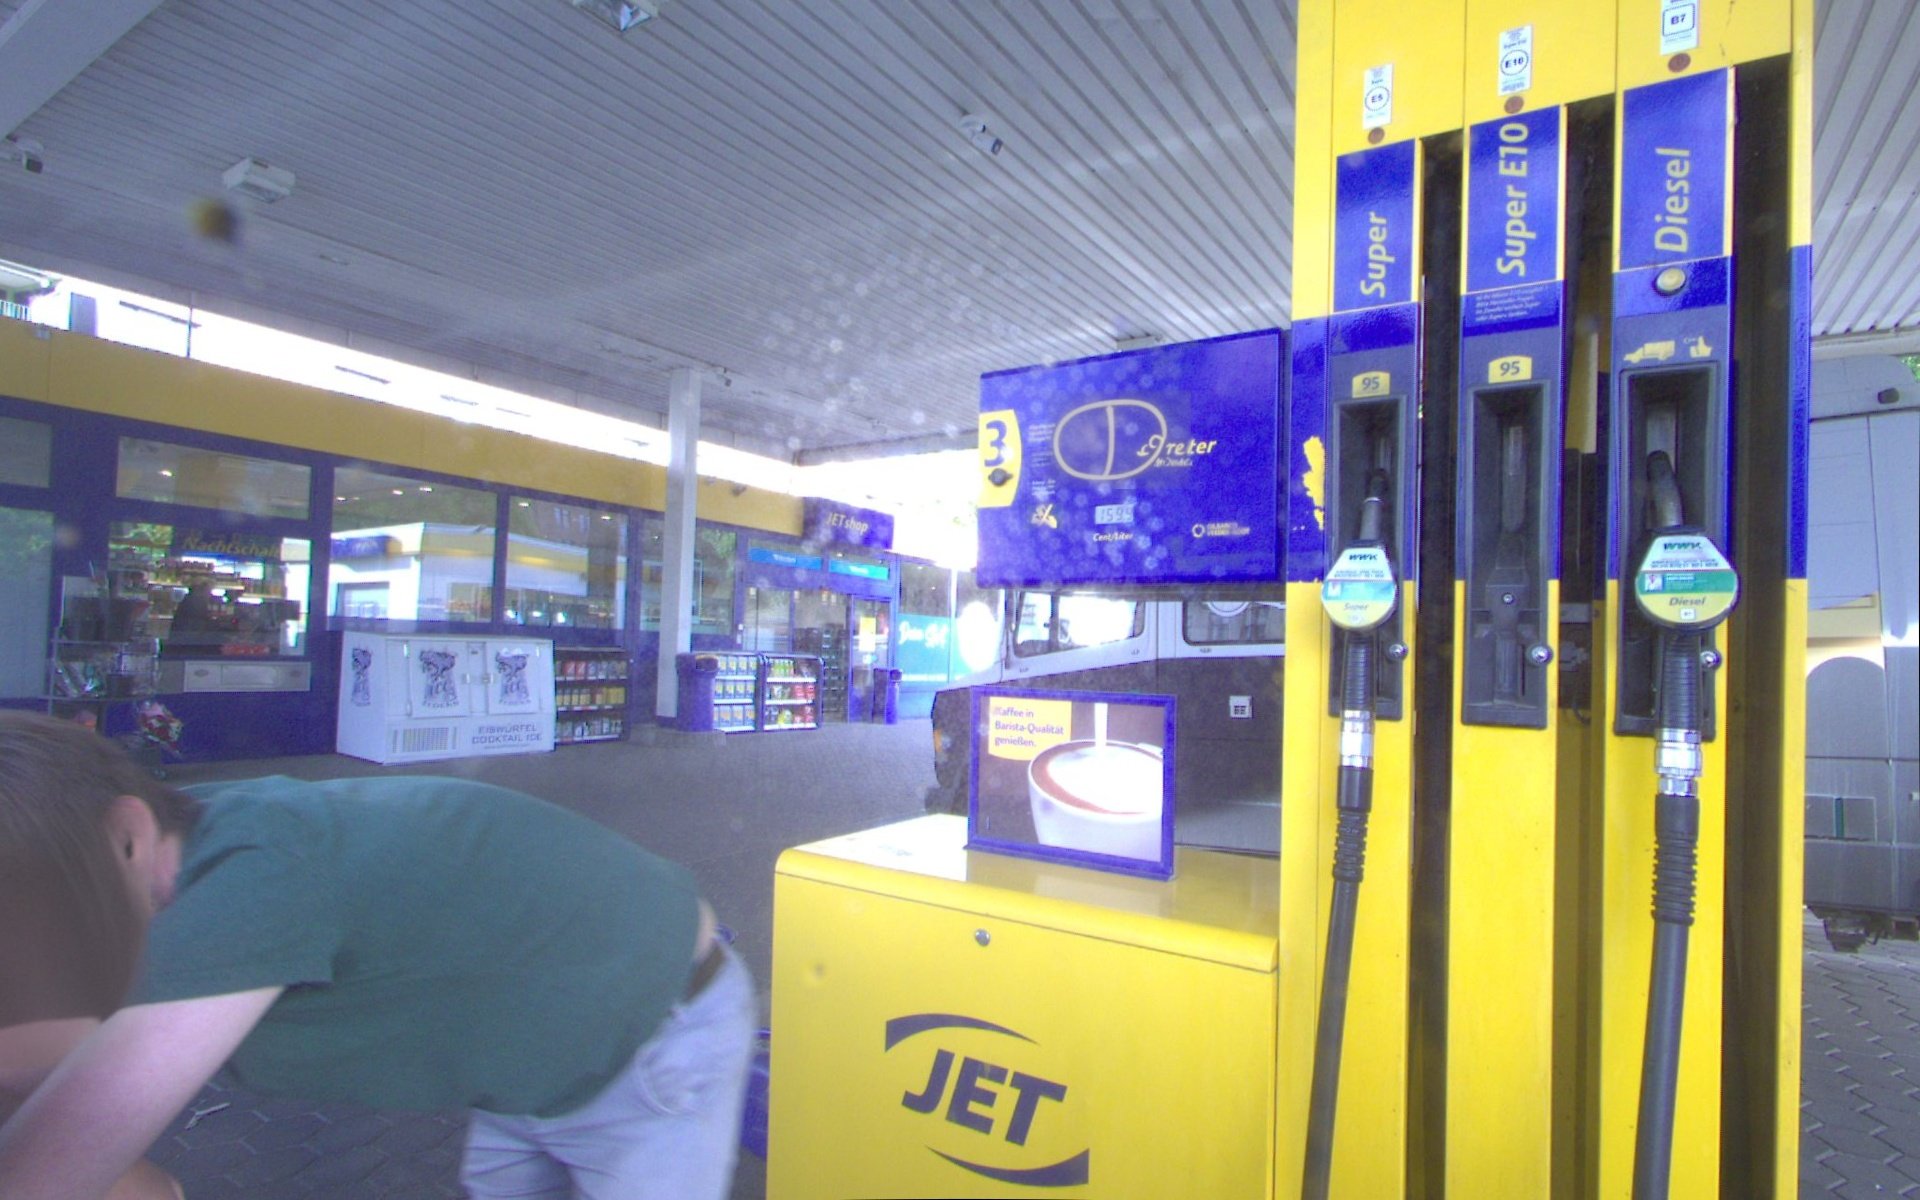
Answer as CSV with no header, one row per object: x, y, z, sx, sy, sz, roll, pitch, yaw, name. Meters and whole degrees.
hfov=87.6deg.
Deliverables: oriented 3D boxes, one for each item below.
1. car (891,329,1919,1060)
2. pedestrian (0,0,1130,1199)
2.348,0.434,5.998,5.271,2.759,2.193,-1,-3,34,car
-0.524,0.577,1.081,0.981,1.750,1.175,-2,-2,36,pedestrian
